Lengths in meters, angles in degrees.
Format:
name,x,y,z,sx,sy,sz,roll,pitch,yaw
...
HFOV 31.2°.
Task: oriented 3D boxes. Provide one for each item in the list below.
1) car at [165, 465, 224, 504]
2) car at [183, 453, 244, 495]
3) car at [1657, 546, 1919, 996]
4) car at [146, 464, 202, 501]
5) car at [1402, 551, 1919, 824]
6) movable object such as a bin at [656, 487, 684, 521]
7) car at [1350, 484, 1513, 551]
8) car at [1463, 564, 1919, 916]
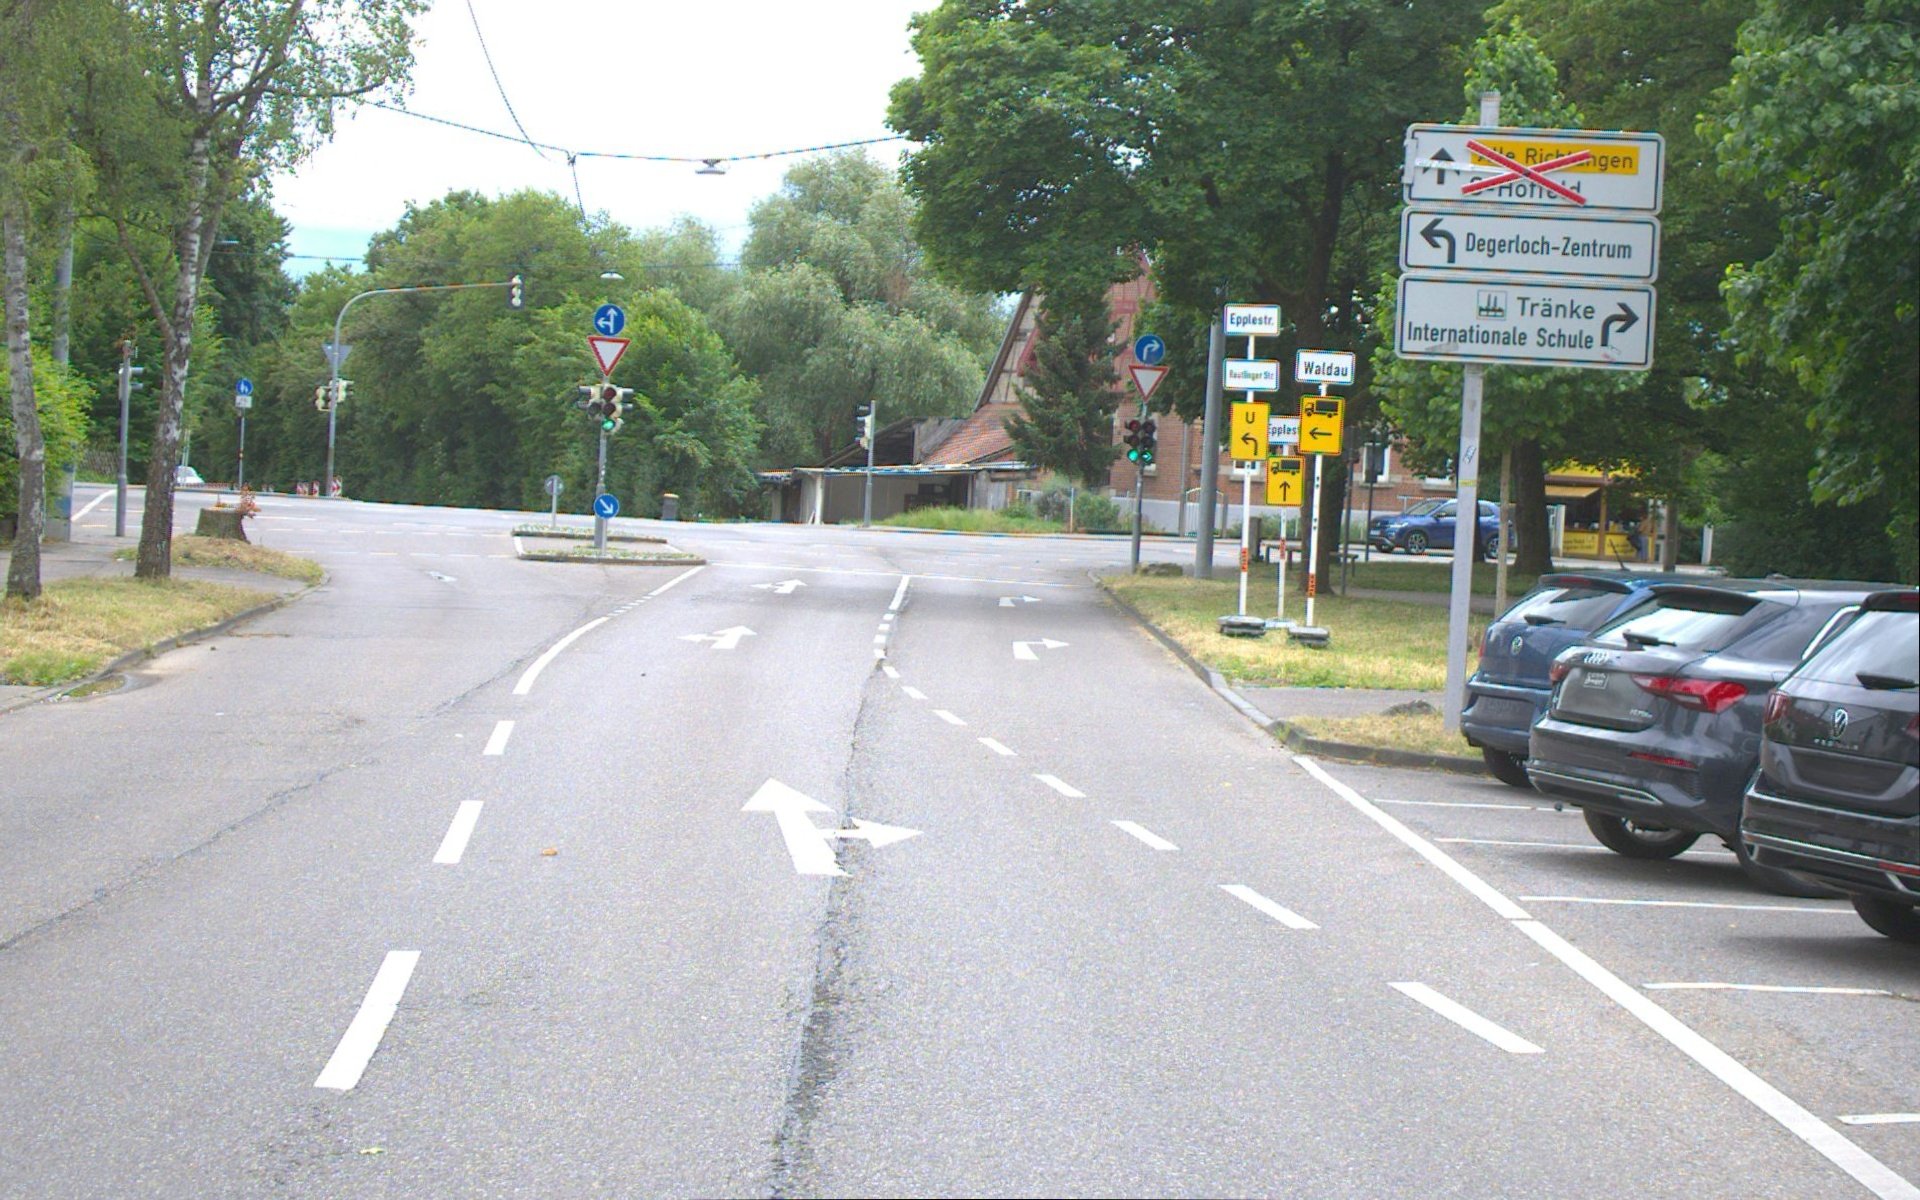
name,x,y,z,sx,sy,sz,roll,pitch,yaw
car,-30.534,-4.611,136.995,1.793,1.405,4.002,2,2,-19
car,-28.834,-4.883,132.719,1.793,1.507,4.002,2,2,-19
car,4.864,0.725,13.200,3.817,1.523,1.747,5,0,-18
car,-32.585,-4.864,142.416,1.793,1.405,4.002,2,2,-19
car,4.949,0.574,21.623,3.817,1.420,1.747,5,0,-18
movable object such as a bin,-9.001,-2.973,106.610,0.632,0.998,0.584,3,0,-28
car,12.852,-2.256,93.800,3.844,1.641,2.001,2,2,-20
car,4.599,0.715,16.284,3.872,1.421,1.831,5,0,-18
